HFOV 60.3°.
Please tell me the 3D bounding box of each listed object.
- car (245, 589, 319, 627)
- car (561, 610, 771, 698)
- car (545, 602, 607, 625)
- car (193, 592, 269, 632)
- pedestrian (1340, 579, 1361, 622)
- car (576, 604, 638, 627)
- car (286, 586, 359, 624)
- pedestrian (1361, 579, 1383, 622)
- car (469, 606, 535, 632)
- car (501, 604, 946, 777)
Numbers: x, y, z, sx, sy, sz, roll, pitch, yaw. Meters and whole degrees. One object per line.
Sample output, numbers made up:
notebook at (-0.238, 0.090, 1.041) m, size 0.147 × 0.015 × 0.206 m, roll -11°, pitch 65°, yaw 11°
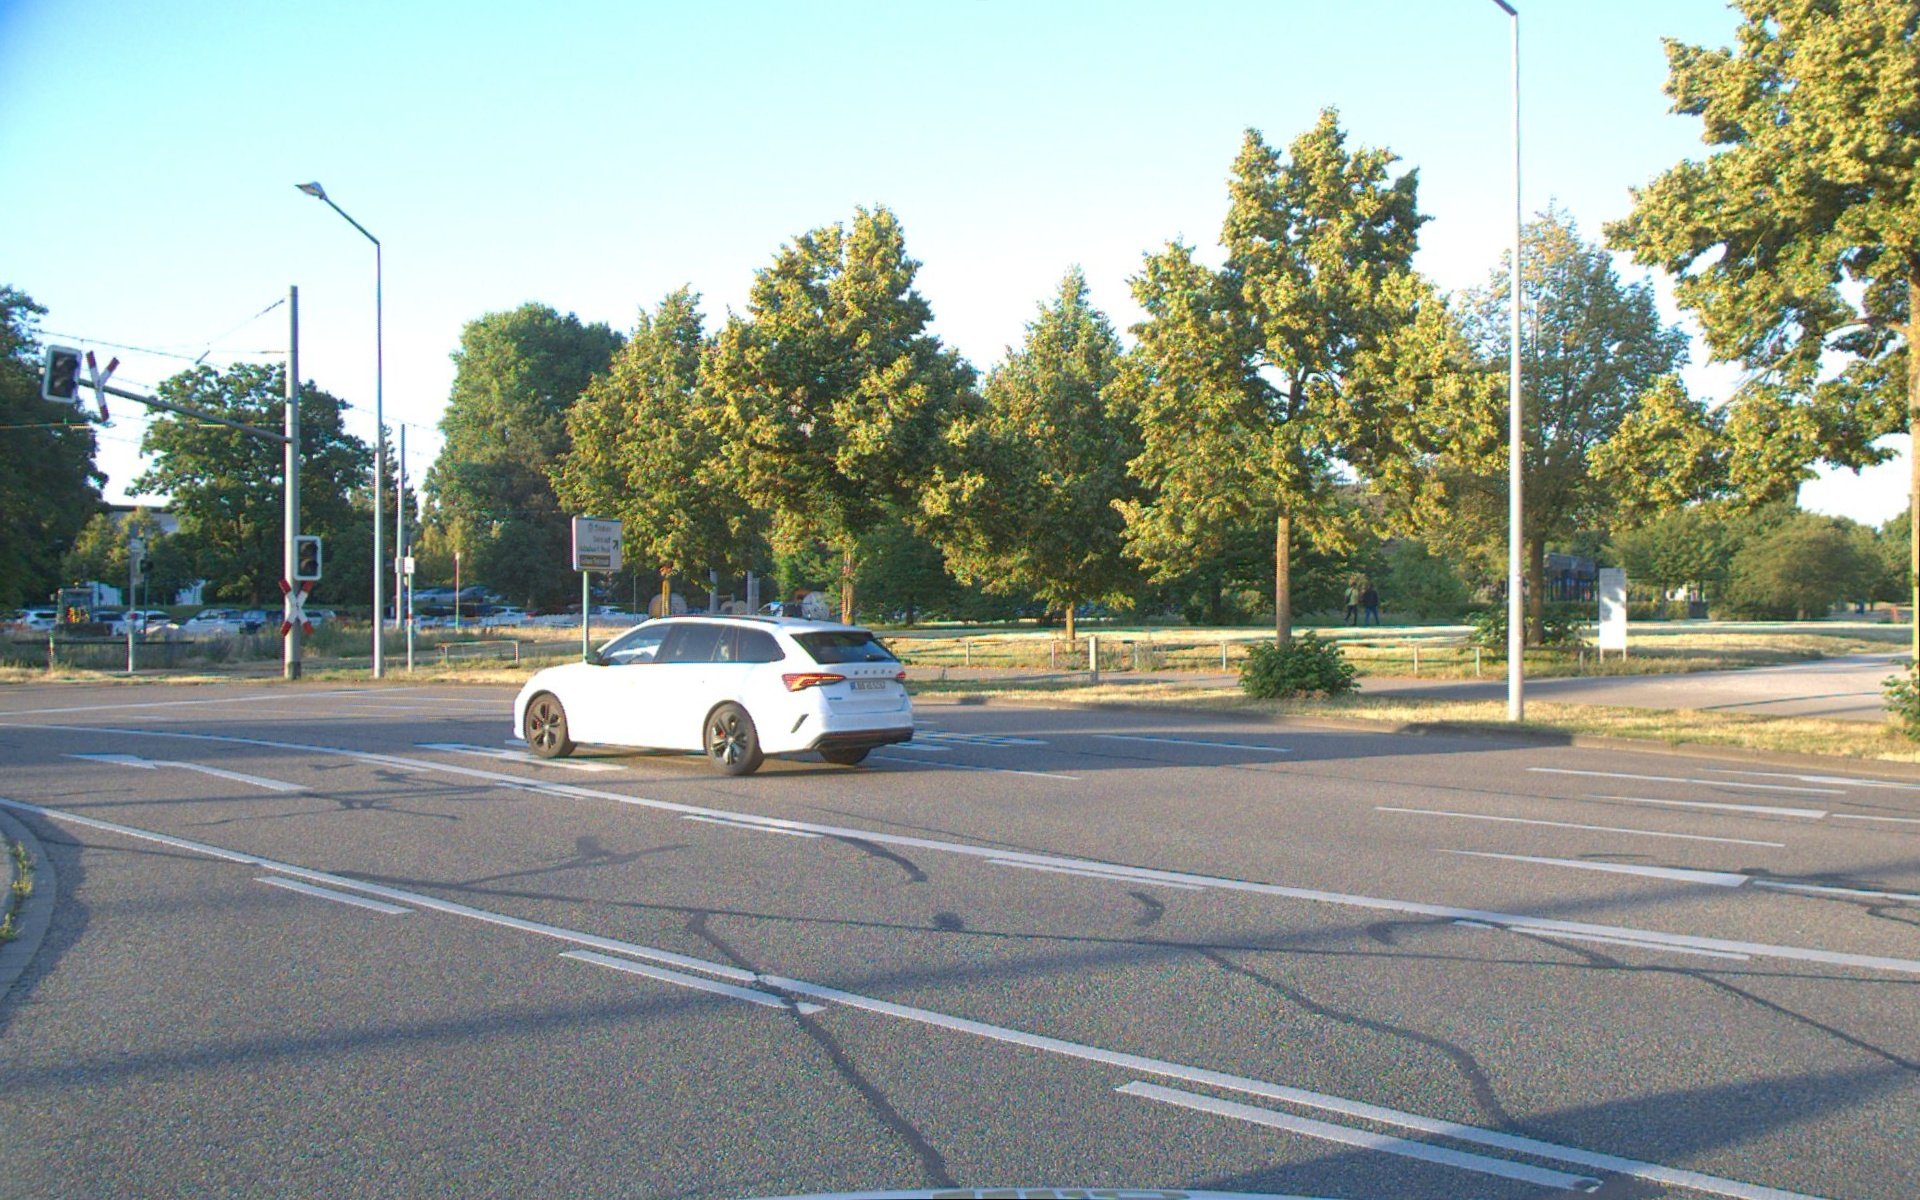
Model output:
car at (-38.359, 0.452, 93.591) m, size 3.914 × 2.135 × 1.995 m, roll 0°, pitch 0°, yaw 31°
car at (-5.199, 0.915, 29.214) m, size 3.408 × 1.468 × 1.552 m, roll 0°, pitch -1°, yaw 27°
car at (-26.390, 0.909, 113.665) m, size 3.913 × 1.578 × 1.996 m, roll 0°, pitch 0°, yaw 30°
car at (-40.094, 0.636, 90.986) m, size 3.914 × 2.135 × 1.995 m, roll 0°, pitch 0°, yaw 31°
pedestrian at (15.066, 0.018, 63.770) m, size 0.573 × 1.655 × 0.527 m, roll 0°, pitch 0°, yaw -32°
car at (-24.700, 1.072, 115.627) m, size 3.913 × 1.578 × 1.996 m, roll 0°, pitch 0°, yaw 30°
car at (-36.891, 0.294, 95.675) m, size 3.914 × 2.135 × 1.995 m, roll 0°, pitch 0°, yaw 31°
pedestrian at (15.835, 0.011, 63.561) m, size 0.612 × 1.655 × 0.525 m, roll 0°, pitch 0°, yaw -31°
car at (-29.726, 1.218, 107.264) m, size 3.913 × 1.578 × 1.996 m, roll 0°, pitch 0°, yaw 30°
car at (-2.430, 0.791, 16.418) m, size 4.458 × 1.474 × 1.721 m, roll 0°, pitch 1°, yaw 36°
